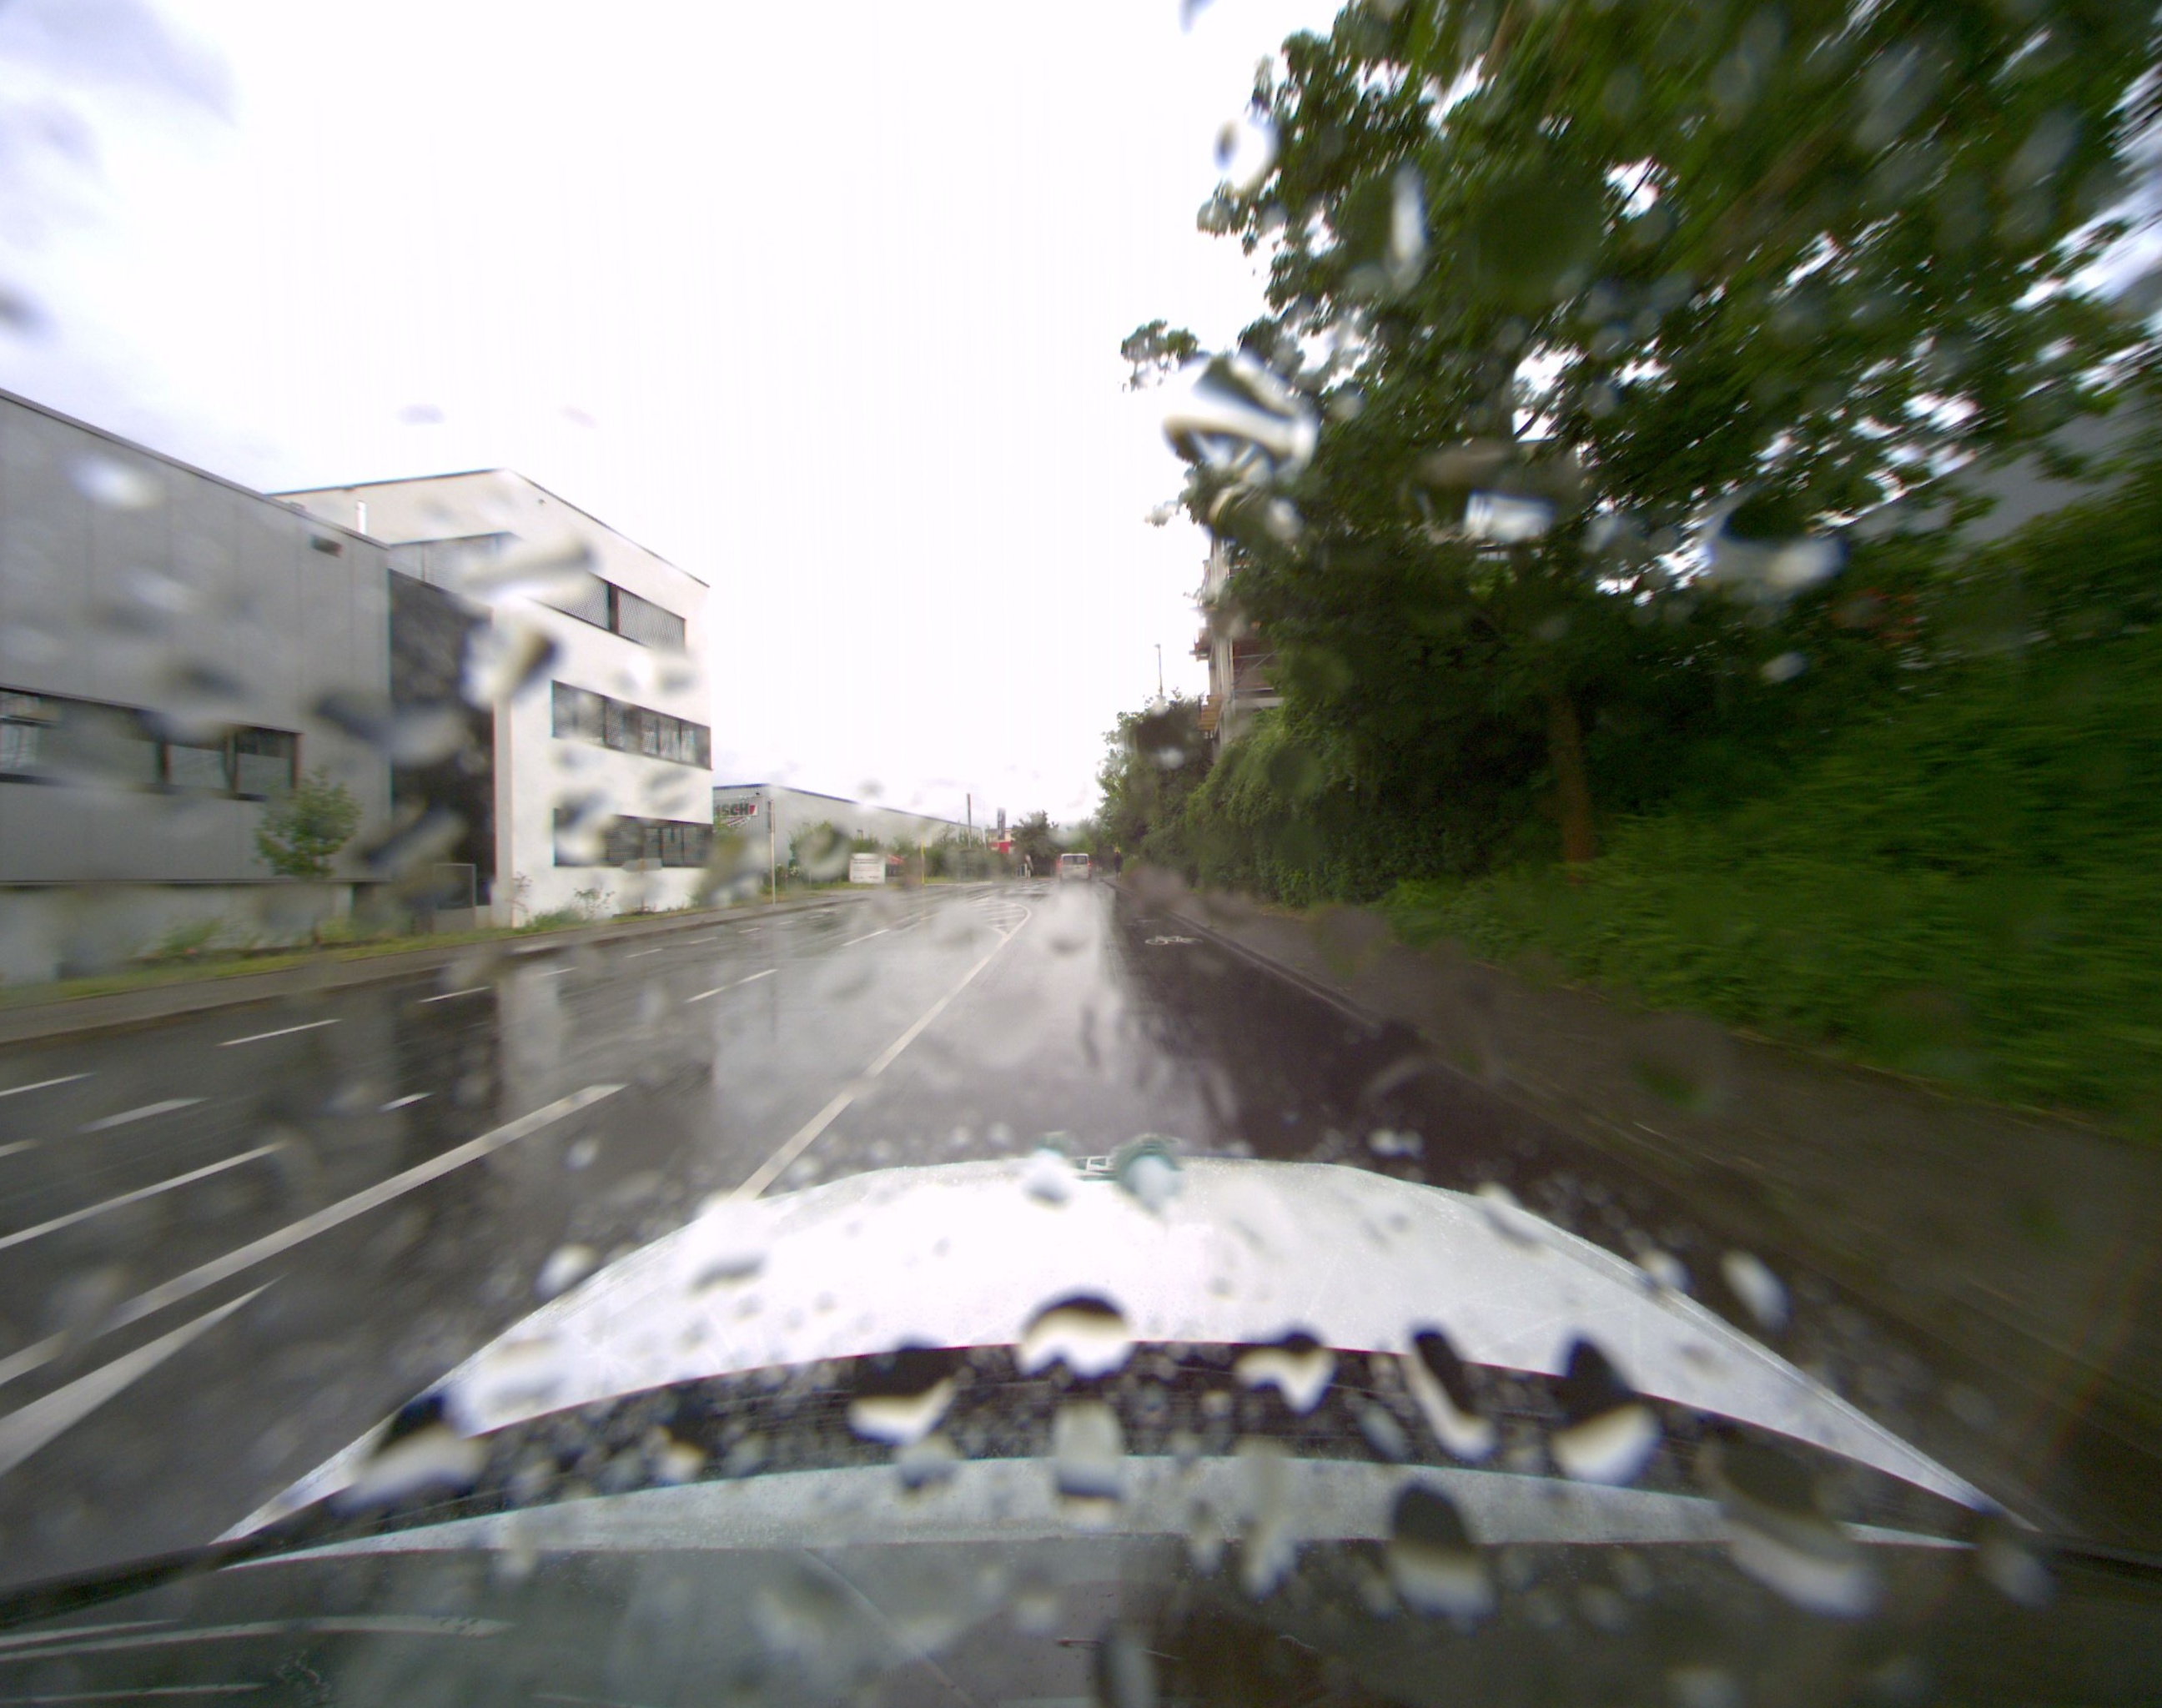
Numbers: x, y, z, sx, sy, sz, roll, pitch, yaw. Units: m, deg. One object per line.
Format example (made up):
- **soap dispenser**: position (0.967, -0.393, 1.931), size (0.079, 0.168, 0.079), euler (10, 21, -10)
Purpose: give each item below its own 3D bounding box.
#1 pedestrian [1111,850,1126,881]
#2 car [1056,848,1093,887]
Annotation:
- **pedestrian**: position (2.405, 0.730, 52.105), size (0.774, 1.907, 0.728), euler (-5, -2, -1)
- **car**: position (-0.332, 0.766, 47.917), size (1.892, 2.018, 5.372), euler (-5, -1, 0)
